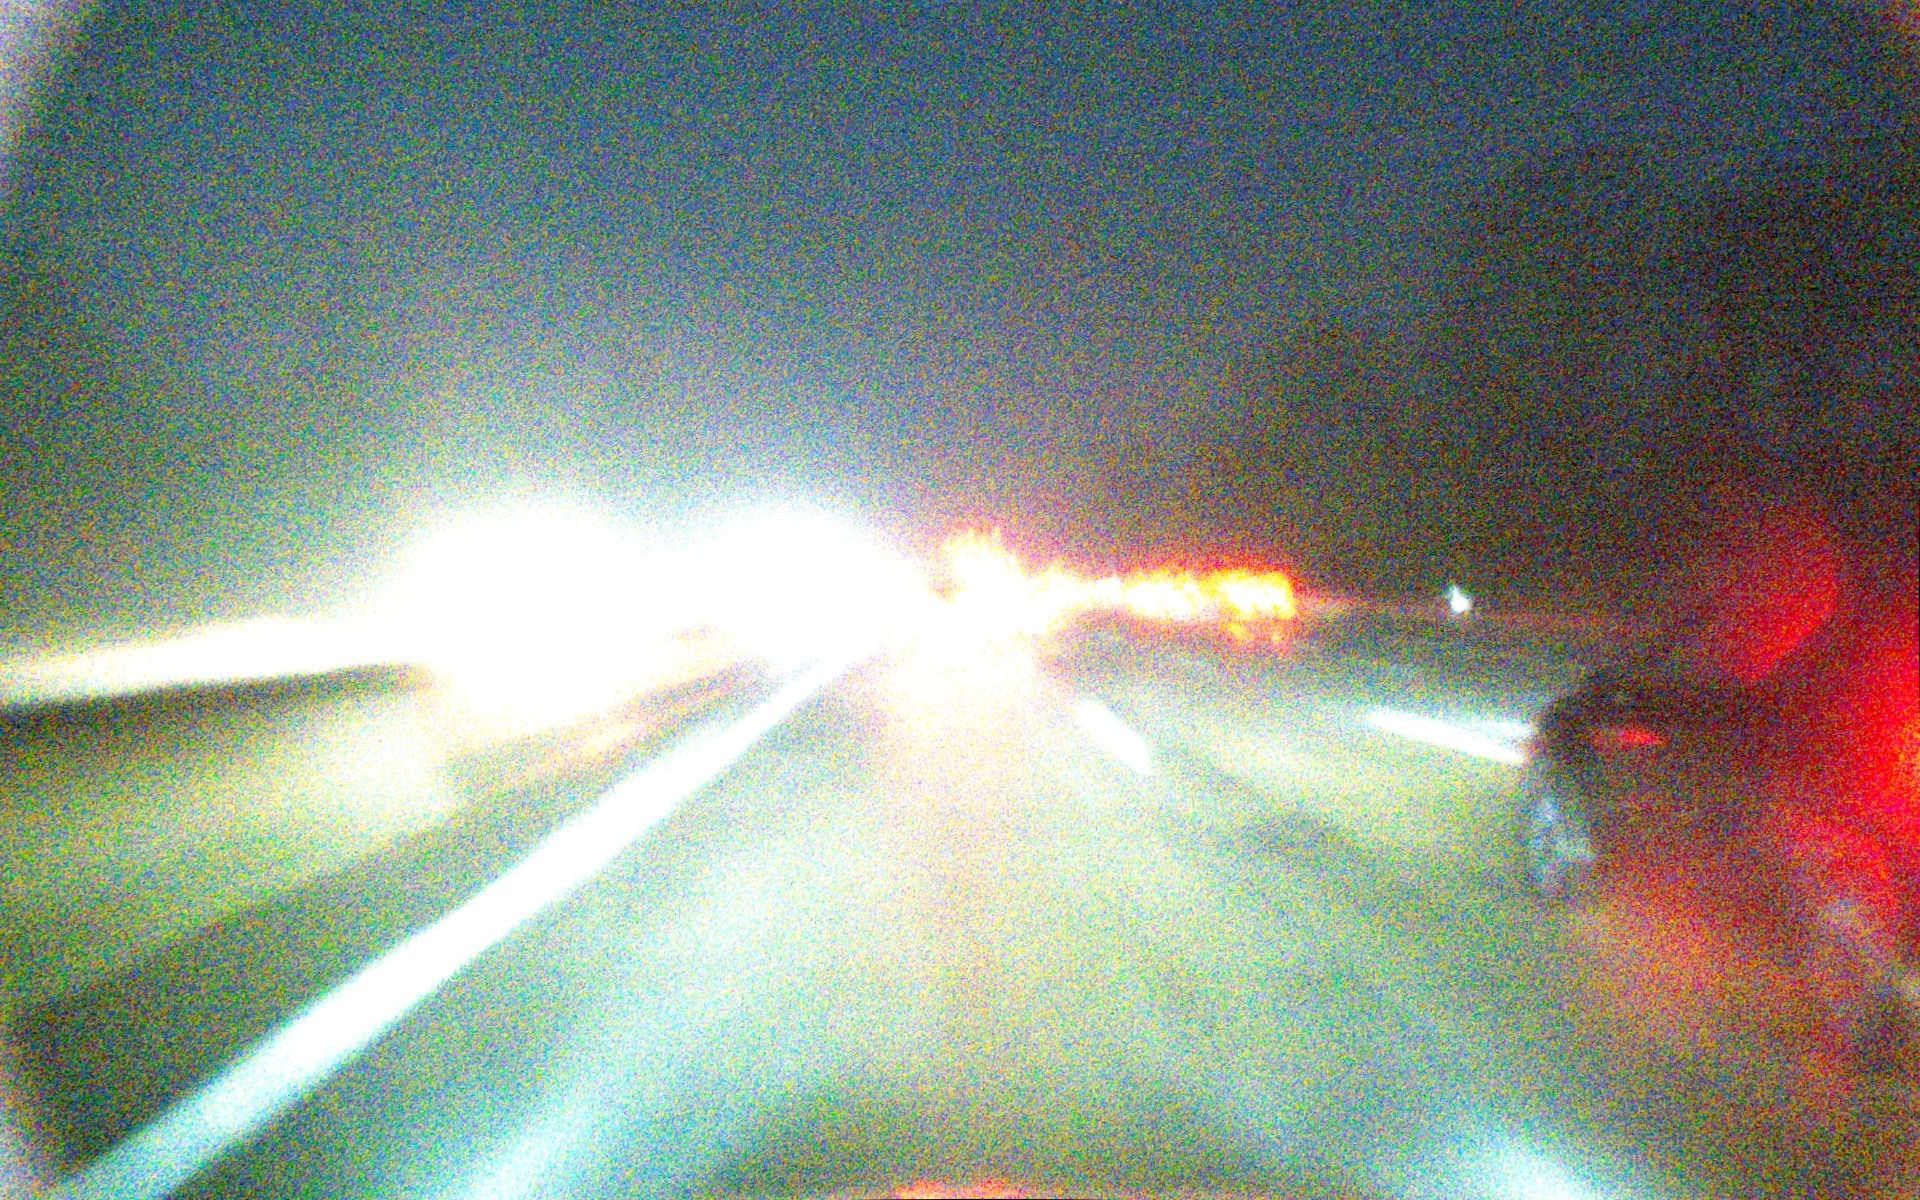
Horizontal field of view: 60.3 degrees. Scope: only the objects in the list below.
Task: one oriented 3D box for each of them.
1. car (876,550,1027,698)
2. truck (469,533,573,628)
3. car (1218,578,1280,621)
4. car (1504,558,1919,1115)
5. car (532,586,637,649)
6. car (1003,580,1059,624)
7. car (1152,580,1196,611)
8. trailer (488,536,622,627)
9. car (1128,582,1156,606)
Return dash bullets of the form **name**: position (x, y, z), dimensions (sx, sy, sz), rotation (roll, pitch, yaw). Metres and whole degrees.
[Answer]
- **car**: position (-0.257, 0.390, 32.633), dimensions (2.655, 2.578, 5.829), rotation (-2, 1, -2)
- **truck**: position (-17.563, -0.746, 66.570), dimensions (2.587, 3.642, 6.174), rotation (0, 0, -1)
- **car**: position (11.714, -0.034, 67.280), dimensions (1.818, 1.646, 4.000), rotation (1, 0, 0)
- **car**: position (3.695, 0.685, 6.326), dimensions (1.846, 1.616, 3.999), rotation (1, 0, -1)
- **car**: position (-9.297, 0.409, 41.260), dimensions (1.743, 1.467, 3.999), rotation (0, 0, -1)
- **car**: position (2.830, 0.076, 66.972), dimensions (2.093, 1.646, 4.000), rotation (1, 0, 0)
- **car**: position (11.802, -0.234, 91.416), dimensions (1.818, 1.646, 3.999), rotation (1, 0, -2)
- **trailer**: position (-17.670, -0.776, 73.334), dimensions (2.587, 3.633, 14.153), rotation (0, 0, -1)
- **car**: position (12.581, -0.388, 114.203), dimensions (1.677, 1.585, 4.002), rotation (1, 0, 3)
